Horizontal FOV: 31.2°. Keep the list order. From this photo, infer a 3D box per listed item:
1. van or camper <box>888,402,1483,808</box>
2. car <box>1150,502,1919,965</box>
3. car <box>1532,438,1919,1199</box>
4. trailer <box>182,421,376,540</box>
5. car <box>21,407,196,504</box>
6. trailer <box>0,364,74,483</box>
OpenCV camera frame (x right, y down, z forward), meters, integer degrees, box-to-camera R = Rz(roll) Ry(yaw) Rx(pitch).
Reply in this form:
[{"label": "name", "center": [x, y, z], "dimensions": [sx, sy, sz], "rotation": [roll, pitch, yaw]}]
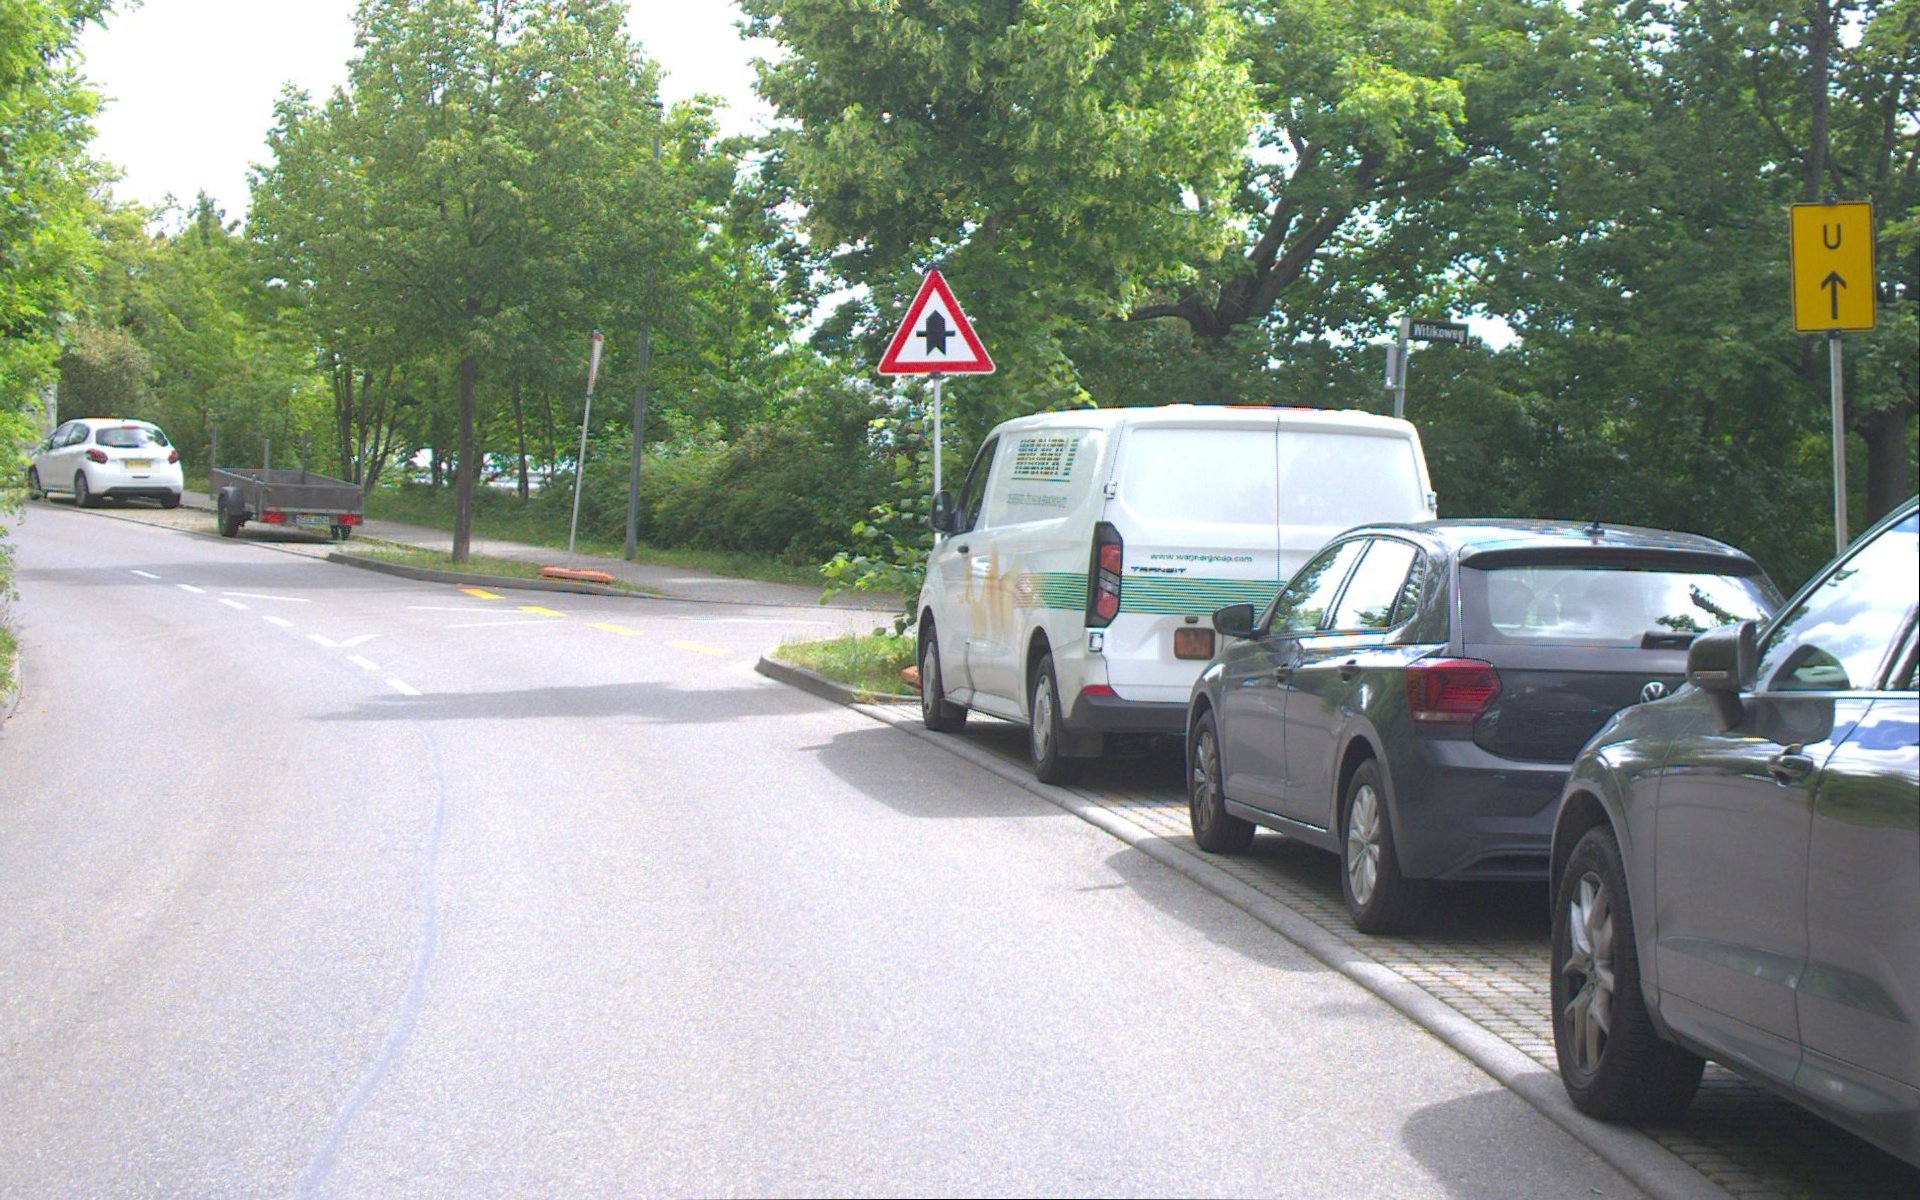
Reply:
[{"label": "van or camper", "center": [1.051, -0.076, 19.200], "dimensions": [1.993, 1.913, 5.268], "rotation": [1, 2, -11]}, {"label": "car", "center": [2.021, 0.396, 13.329], "dimensions": [1.797, 1.459, 4.001], "rotation": [3, 1, -7]}, {"label": "car", "center": [2.605, 0.510, 6.791], "dimensions": [1.993, 1.620, 4.279], "rotation": [0, 2, -3]}, {"label": "trailer", "center": [-10.130, -1.795, 50.927], "dimensions": [1.784, 1.520, 4.002], "rotation": [1, 4, -27]}, {"label": "car", "center": [-14.642, -2.494, 58.982], "dimensions": [1.769, 1.406, 4.001], "rotation": [0, 5, -31]}, {"label": "trailer", "center": [-18.199, -3.334, 64.294], "dimensions": [1.740, 2.103, 4.000], "rotation": [-1, 5, -37]}]
